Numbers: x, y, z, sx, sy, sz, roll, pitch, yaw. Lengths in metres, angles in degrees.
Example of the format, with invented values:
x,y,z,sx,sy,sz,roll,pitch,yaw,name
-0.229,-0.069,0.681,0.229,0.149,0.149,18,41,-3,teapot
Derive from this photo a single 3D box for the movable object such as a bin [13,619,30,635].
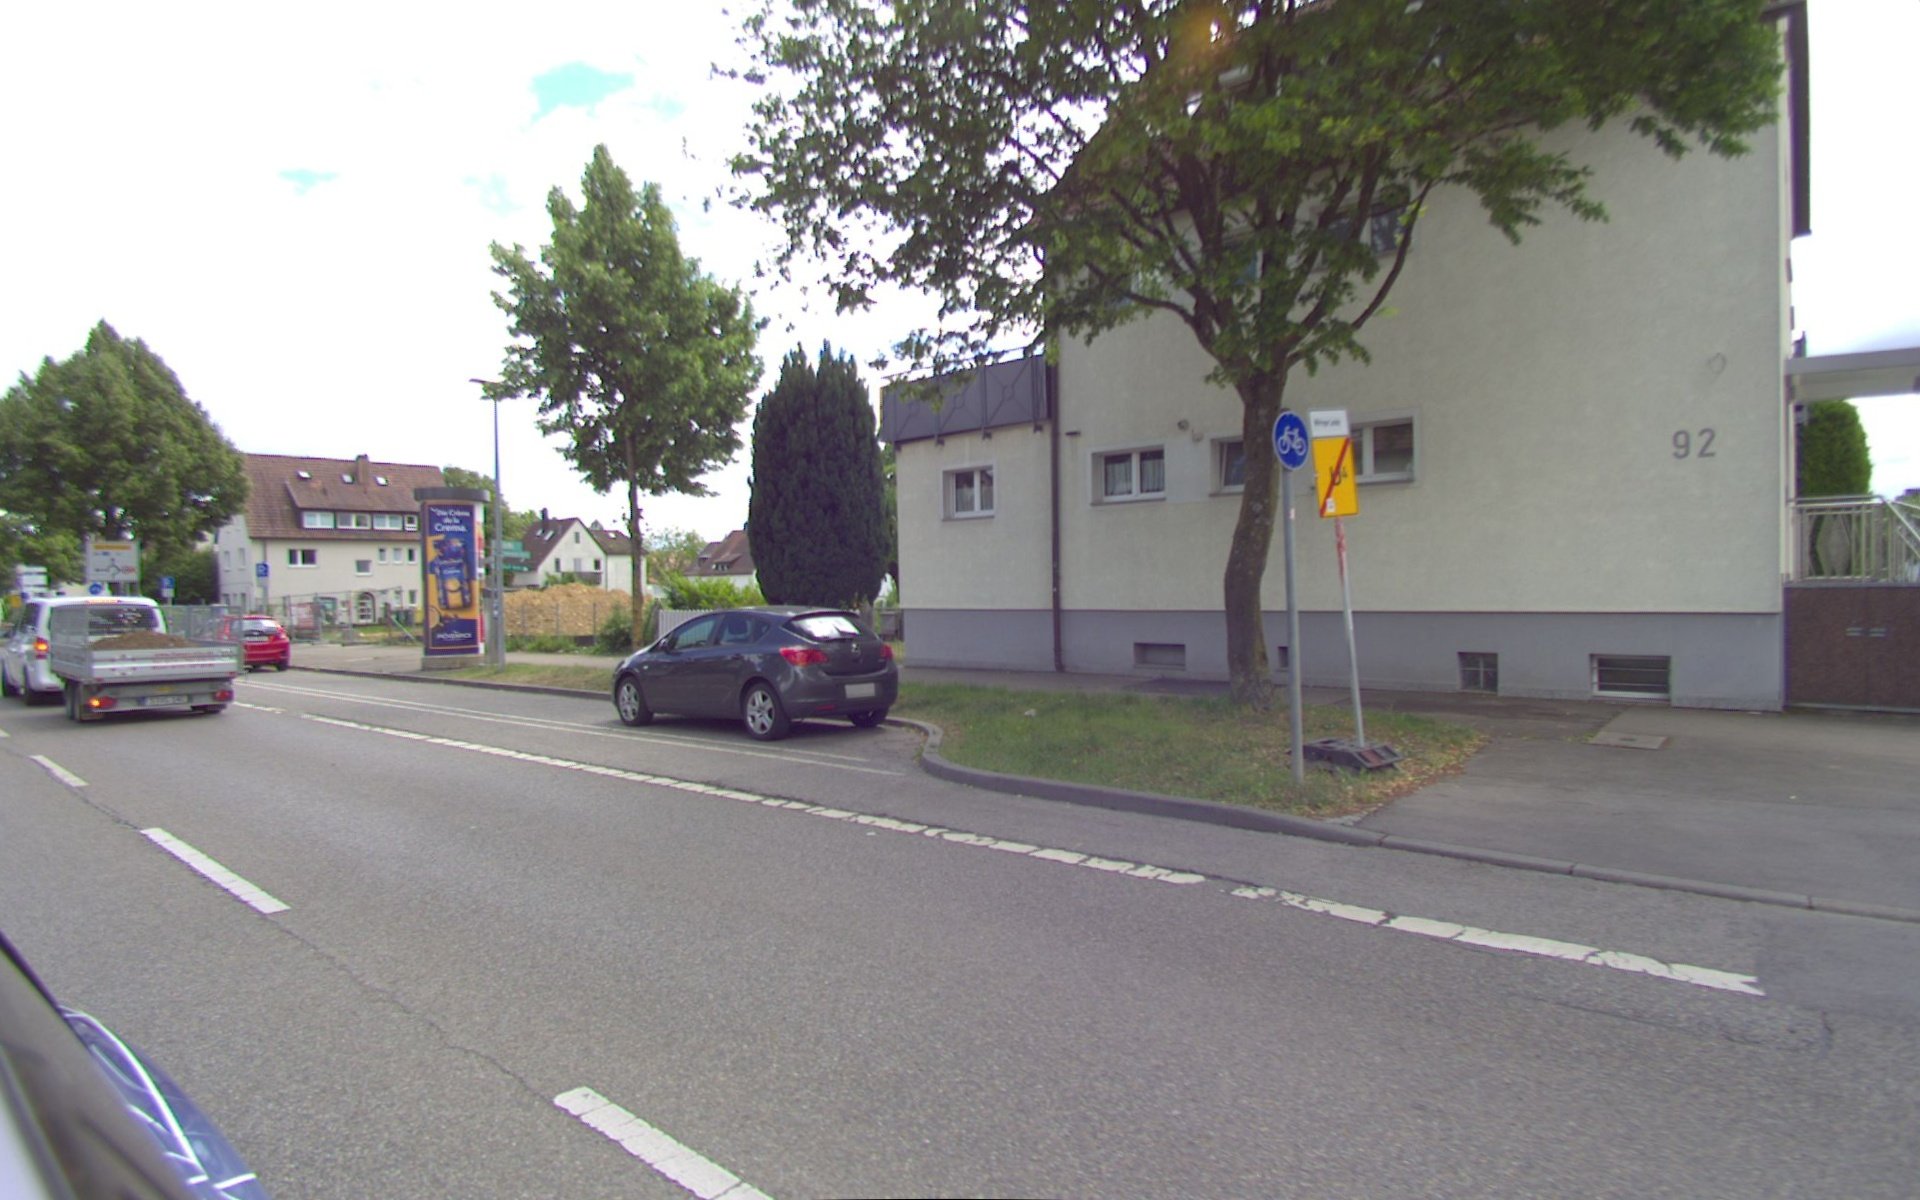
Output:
x,y,z,sx,sy,sz,roll,pitch,yaw,name
-91.168,2.614,98.309,2.721,1.427,0.971,-2,0,41,movable object such as a bin

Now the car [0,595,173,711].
x,y,z,sx,sy,sz,roll,pitch,yaw,name
-16.270,0.887,18.578,4.816,1.844,1.946,-1,0,41,car

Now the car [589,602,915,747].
x,y,z,sx,sy,sz,roll,pitch,yaw,name
-2.696,0.803,12.480,4.300,1.480,1.713,-1,-1,42,car

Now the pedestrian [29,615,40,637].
x,y,z,sx,sy,sz,roll,pitch,yaw,name
-80.901,2.258,88.444,0.627,1.840,0.568,-3,1,-38,pedestrian

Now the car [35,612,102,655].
x,y,z,sx,sy,sz,roll,pitch,yaw,name
-39.353,1.454,44.633,4.550,1.784,1.751,-1,0,43,car

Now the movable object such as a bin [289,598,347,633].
x,y,z,sx,sy,sz,roll,pitch,yaw,name
-42.044,1.027,66.228,4.357,2.204,1.877,-1,0,39,movable object such as a bin

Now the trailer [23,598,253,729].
x,y,z,sx,sy,sz,roll,pitch,yaw,name
-12.656,0.864,15.476,4.685,1.689,1.918,-1,0,41,trailer

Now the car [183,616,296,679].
x,y,z,sx,sy,sz,roll,pitch,yaw,name
-19.579,1.243,27.439,4.131,1.553,1.667,-1,-1,43,car
